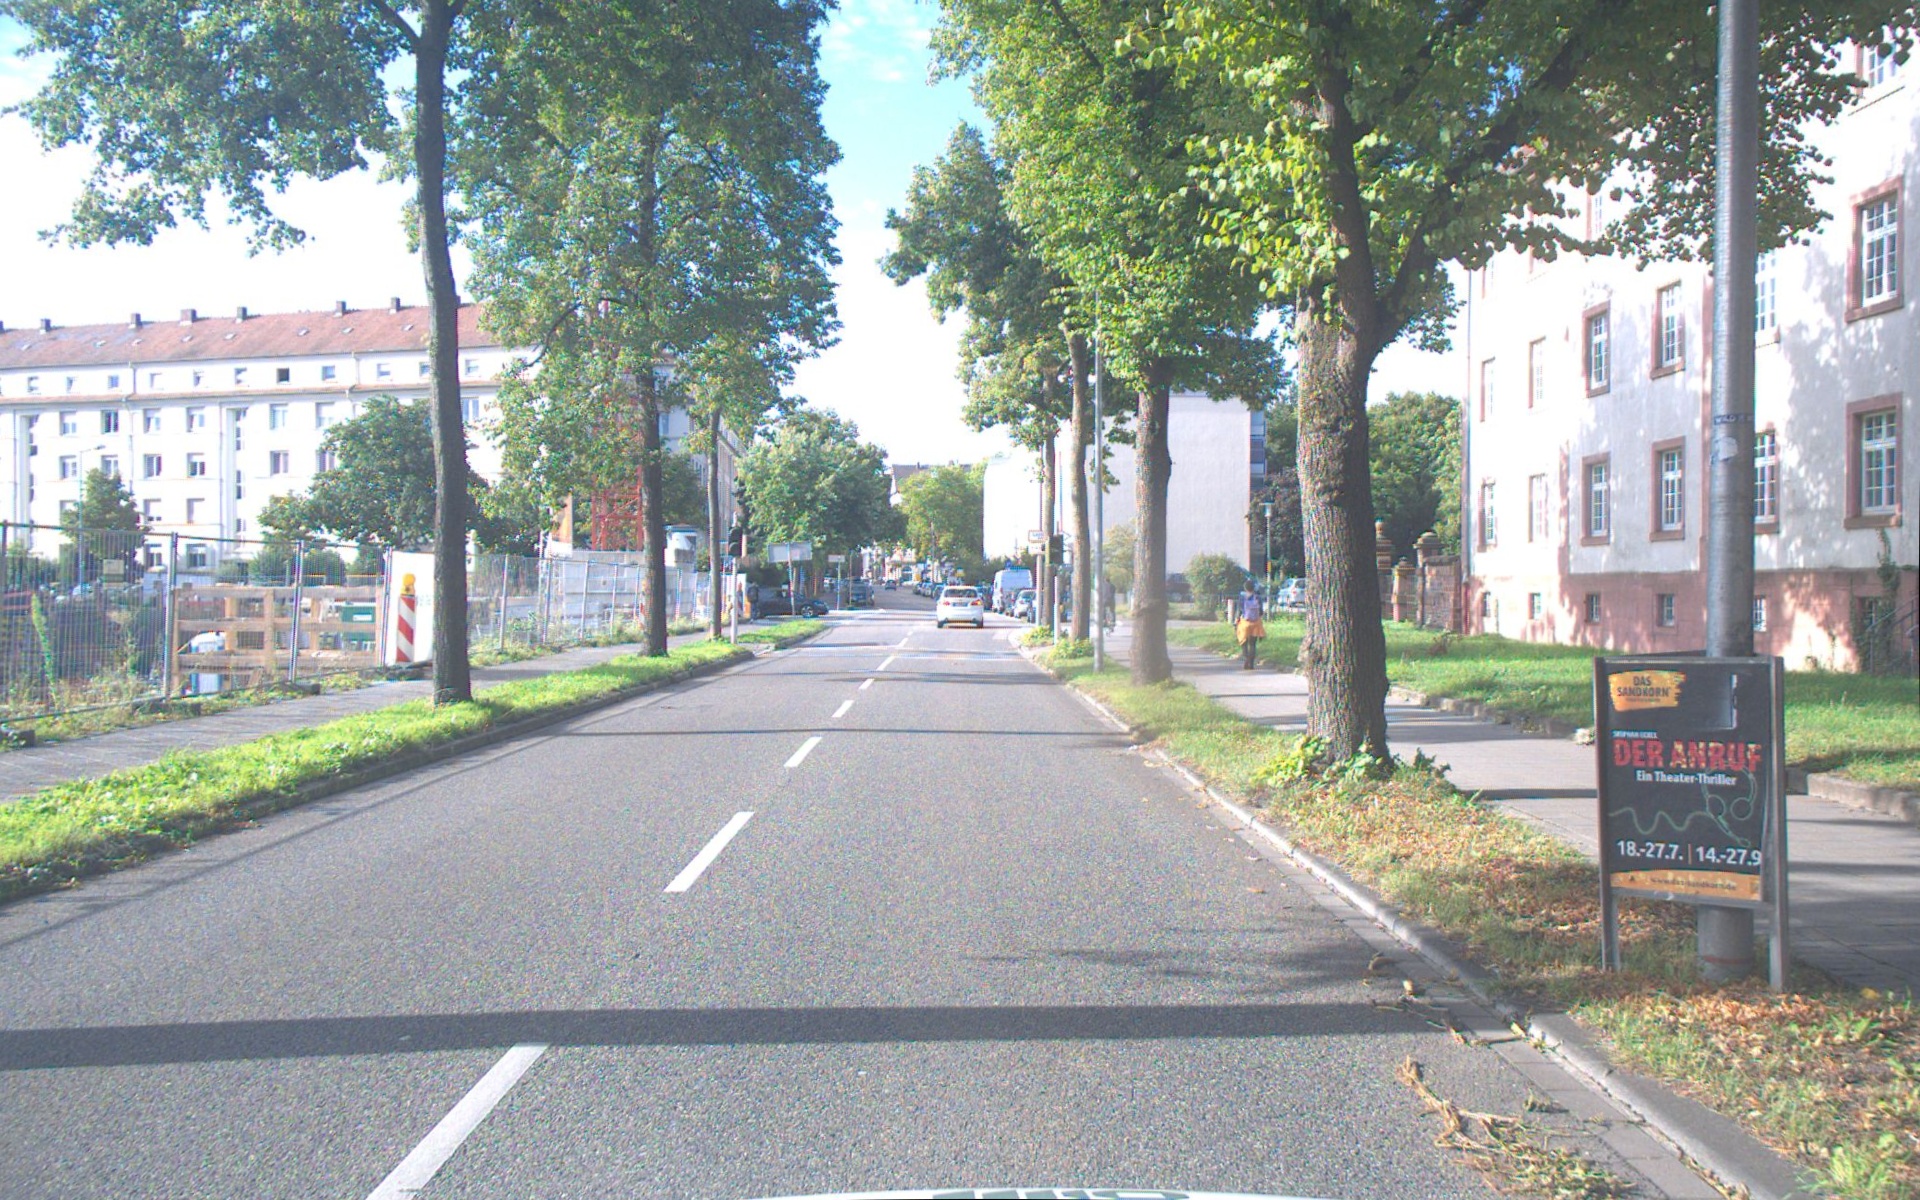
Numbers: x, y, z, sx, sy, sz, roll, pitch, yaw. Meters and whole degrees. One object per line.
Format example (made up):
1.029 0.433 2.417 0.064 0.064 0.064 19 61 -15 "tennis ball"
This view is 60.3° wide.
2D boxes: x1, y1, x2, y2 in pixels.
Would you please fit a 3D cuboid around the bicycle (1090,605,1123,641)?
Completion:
4.591 0.723 52.031 0.725 1.053 2.761 -2 0 -1 "bicycle"

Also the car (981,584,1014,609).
2.481 -0.268 110.277 1.953 1.601 3.999 -1 1 -1 "car"

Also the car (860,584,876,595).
-13.760 -1.563 247.501 2.016 1.692 3.920 -1 1 -7 "car"

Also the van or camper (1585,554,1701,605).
36.713 -1.110 88.980 5.134 2.601 2.595 -1 1 -2 "van or camper"

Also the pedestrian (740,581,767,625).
-8.418 0.139 67.502 0.989 1.758 1.174 0 -1 -13 "pedestrian"

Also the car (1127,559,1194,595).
12.625 -1.447 104.152 4.033 2.224 2.001 -1 1 3 "car"

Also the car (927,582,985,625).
-0.174 0.117 63.719 1.954 1.582 4.271 1 0 -4 "car"

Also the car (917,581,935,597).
-3.800 -1.216 186.904 1.953 1.785 4.000 1 0 0 "car"

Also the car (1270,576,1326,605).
18.016 -0.510 88.398 1.954 1.467 3.998 -1 1 -3 "car"

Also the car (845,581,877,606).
-6.918 -0.465 115.566 1.956 1.668 3.994 -1 1 -7 "car"

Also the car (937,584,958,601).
-1.193 -0.706 157.729 1.953 1.601 3.999 -1 1 -1 "car"

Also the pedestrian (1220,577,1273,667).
5.355 0.406 30.955 0.797 1.618 0.769 -2 0 -2 "pedestrian"

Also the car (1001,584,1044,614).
3.514 -0.082 93.328 1.954 1.644 4.405 -1 1 -4 "car"

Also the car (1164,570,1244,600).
13.967 -0.884 94.711 4.355 1.650 2.001 -1 1 3 "car"

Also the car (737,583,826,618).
-8.655 0.028 80.451 3.902 1.598 2.002 1 0 7 "car"

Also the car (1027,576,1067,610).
4.009 -0.336 76.651 1.682 1.522 4.268 0 0 0 "car"

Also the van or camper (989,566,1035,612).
3.083 -0.666 99.354 2.166 2.652 5.367 -1 1 -5 "van or camper"

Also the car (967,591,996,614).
1.558 0.179 120.822 1.953 1.601 3.999 -1 1 -1 "car"

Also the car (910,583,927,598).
-5.162 -1.220 207.456 1.953 1.785 4.000 1 0 0 "car"

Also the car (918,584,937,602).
-3.460 -0.747 176.197 1.953 1.785 4.000 1 0 0 "car"

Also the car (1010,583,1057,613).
3.900 -0.090 88.076 1.975 1.500 4.798 -1 0 -4 "car"

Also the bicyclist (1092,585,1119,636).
4.582 0.328 52.188 0.722 1.540 0.874 -2 0 -1 "bicyclist"
